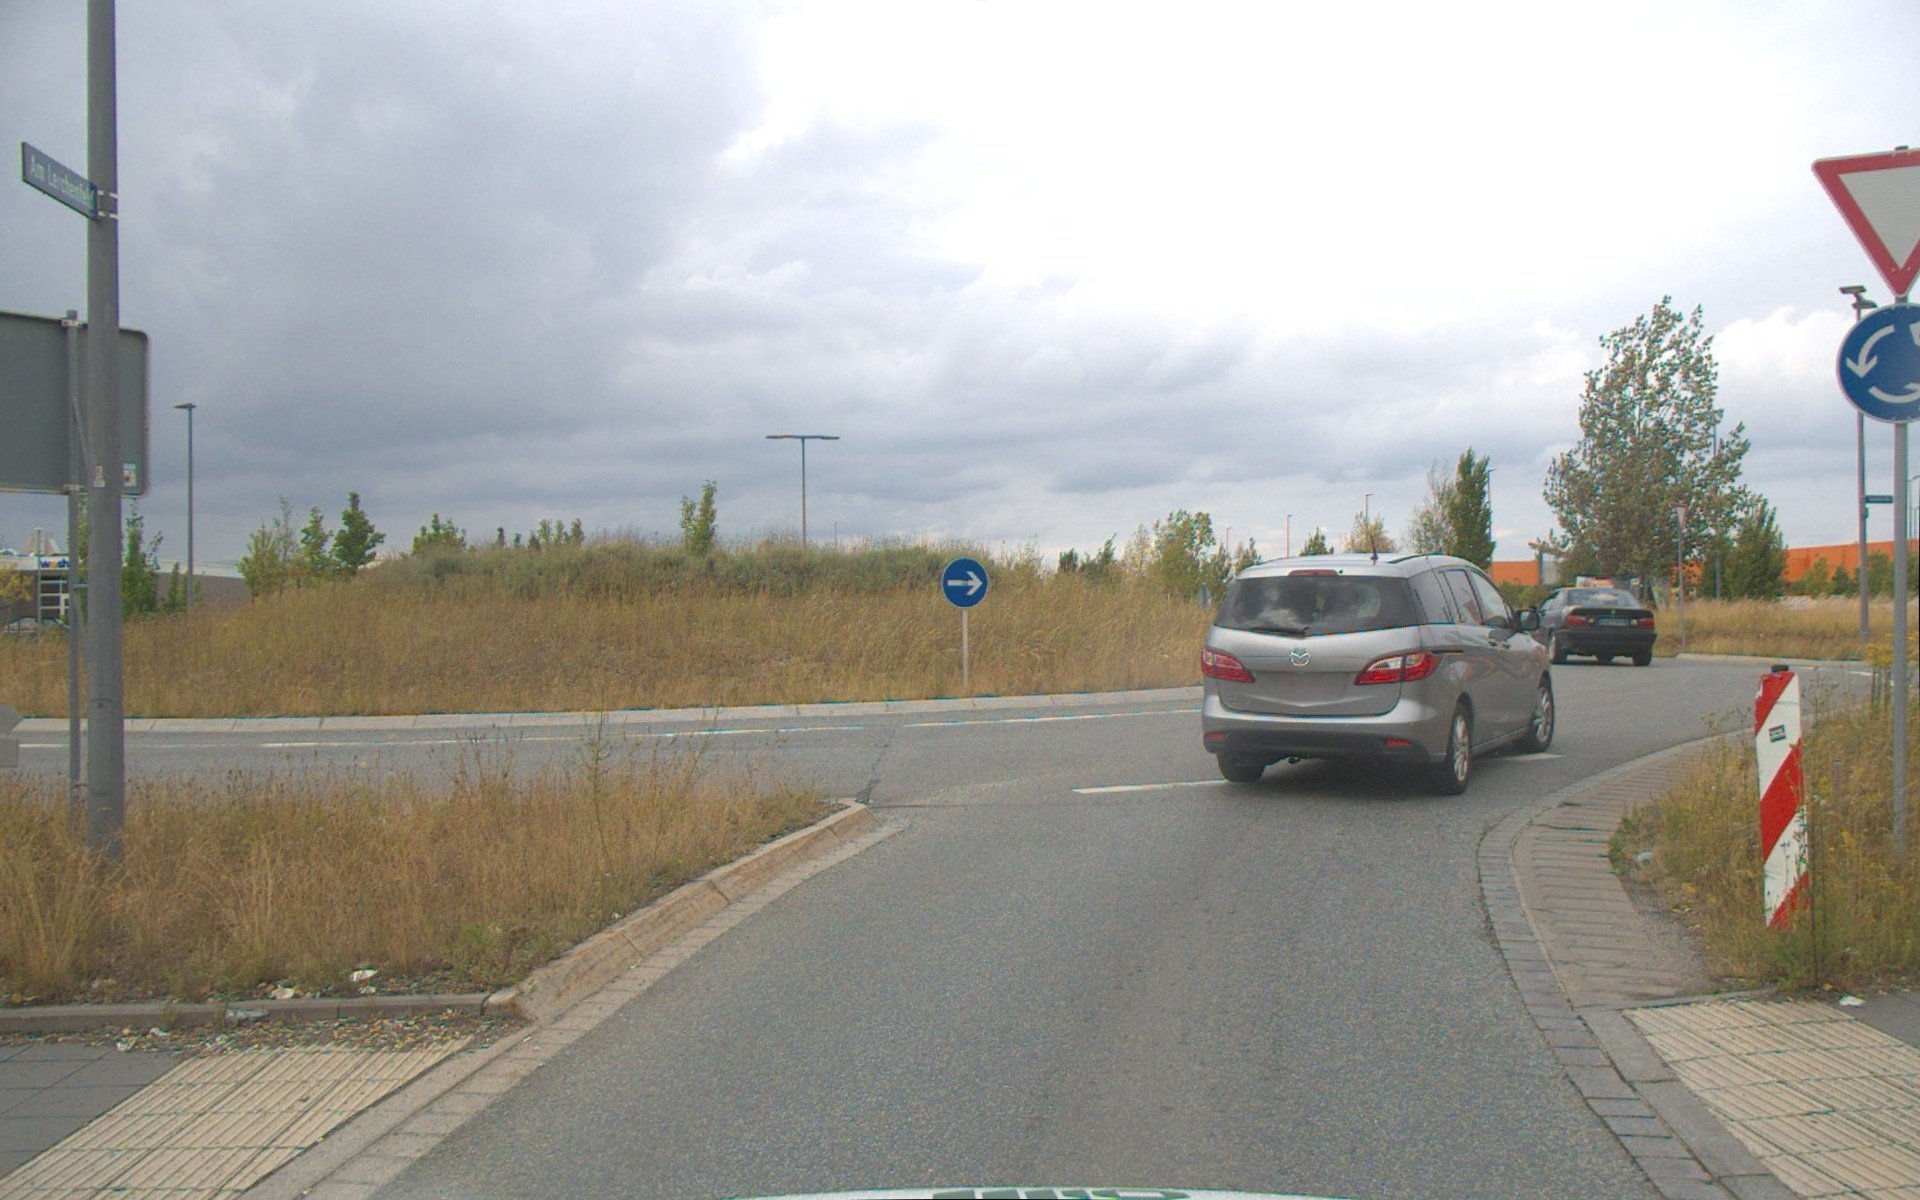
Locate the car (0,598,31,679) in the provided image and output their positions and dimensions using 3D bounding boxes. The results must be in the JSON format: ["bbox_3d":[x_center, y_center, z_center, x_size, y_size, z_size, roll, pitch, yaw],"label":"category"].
[{"bbox_3d":[-23.058,0.809,36.310,4.581,1.784,1.710,2,-2,-31],"label":"car"}]

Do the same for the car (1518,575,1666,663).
[{"bbox_3d":[11.284,0.296,29.779,1.701,1.428,4.002,0,1,9],"label":"car"}]

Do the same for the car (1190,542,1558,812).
[{"bbox_3d":[3.260,0.407,12.446,1.705,1.626,3.992,1,3,29],"label":"car"}]
